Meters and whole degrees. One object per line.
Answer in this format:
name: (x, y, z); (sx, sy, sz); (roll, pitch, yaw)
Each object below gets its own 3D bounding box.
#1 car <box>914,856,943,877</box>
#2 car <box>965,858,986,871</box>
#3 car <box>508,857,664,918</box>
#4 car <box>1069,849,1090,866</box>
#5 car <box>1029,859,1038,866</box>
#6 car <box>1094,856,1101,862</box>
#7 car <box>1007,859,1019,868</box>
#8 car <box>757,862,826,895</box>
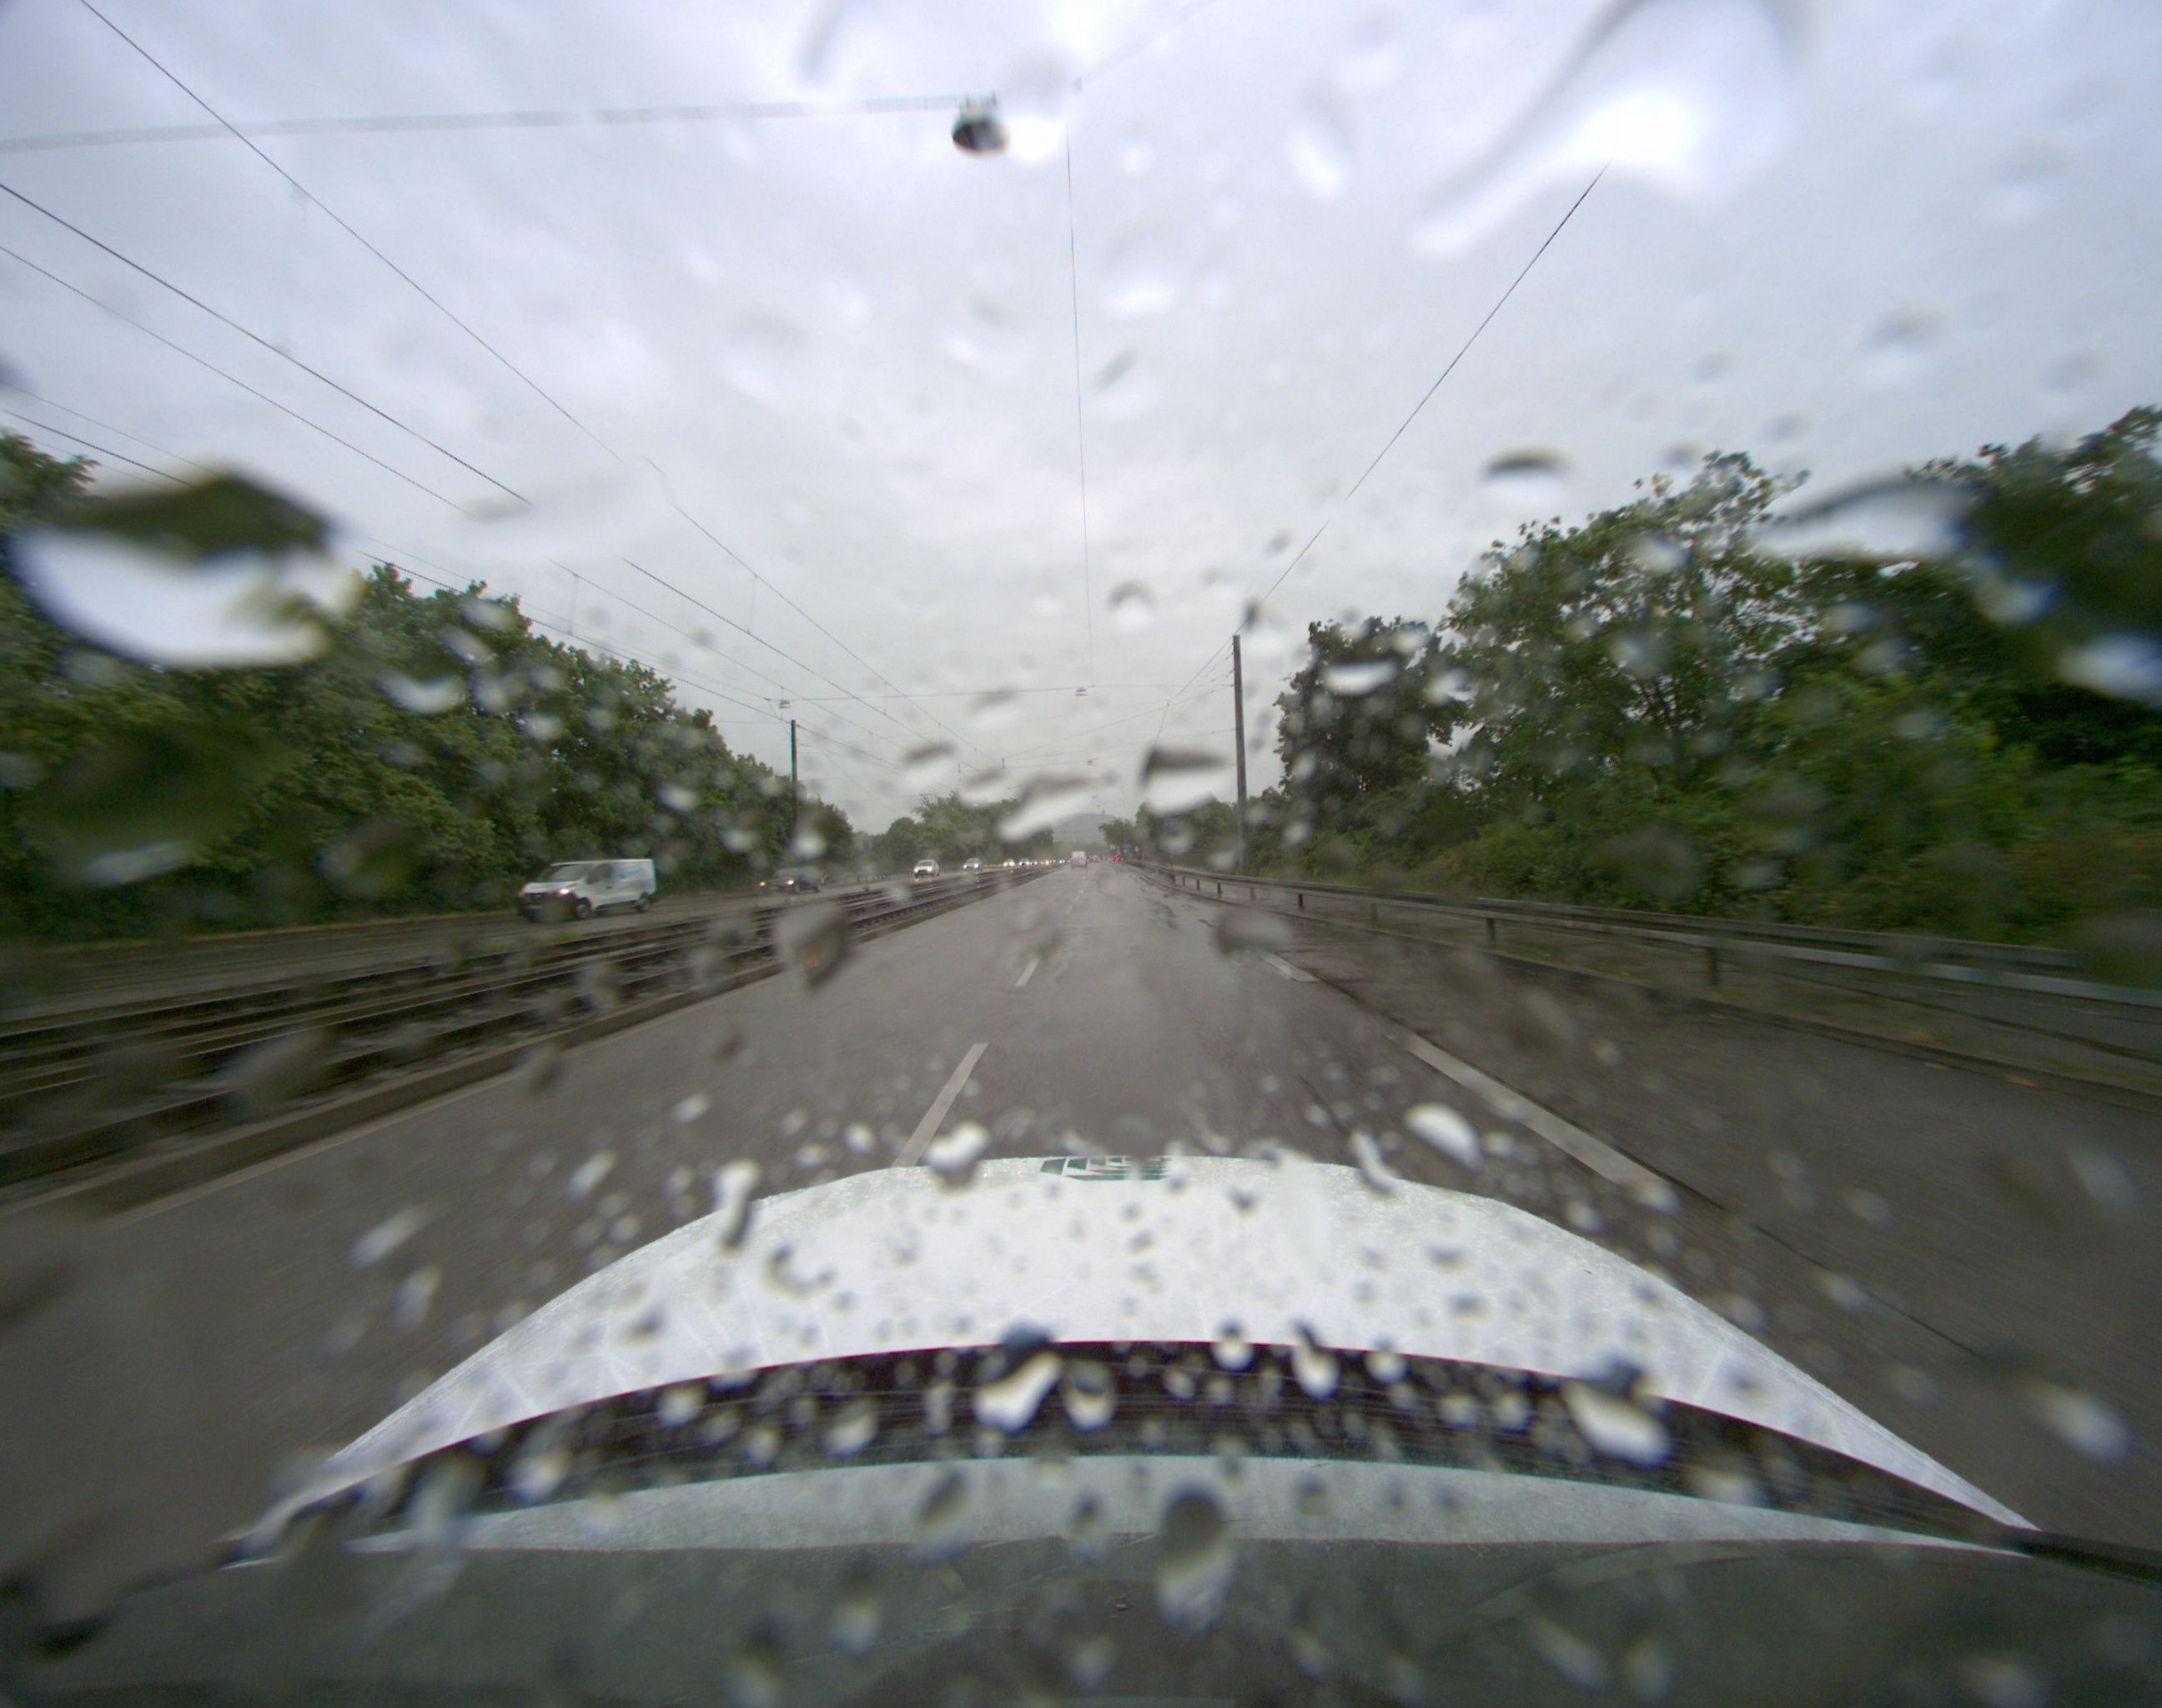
car: (-13.648, 1.092, 73.094); (1.748, 1.711, 4.001); (0, 1, 1)
car: (-12.705, 1.226, 98.548); (1.790, 1.453, 4.197); (0, 1, 2)
car: (-16.690, 1.057, 27.827); (2.031, 1.775, 4.990); (0, 1, 3)
car: (-0.121, 0.334, 84.965); (1.981, 1.684, 3.743); (0, 1, 3)
car: (-10.944, 1.941, 187.800); (1.737, 1.508, 3.701); (0, 1, 1)
car: (4.421, 1.362, 217.252); (1.737, 1.508, 3.701); (0, 1, 1)
car: (-11.777, 1.666, 141.601); (1.737, 1.508, 3.701); (0, 1, 1)
car: (-15.332, 1.267, 43.423); (1.681, 1.519, 4.617); (0, 1, 5)
